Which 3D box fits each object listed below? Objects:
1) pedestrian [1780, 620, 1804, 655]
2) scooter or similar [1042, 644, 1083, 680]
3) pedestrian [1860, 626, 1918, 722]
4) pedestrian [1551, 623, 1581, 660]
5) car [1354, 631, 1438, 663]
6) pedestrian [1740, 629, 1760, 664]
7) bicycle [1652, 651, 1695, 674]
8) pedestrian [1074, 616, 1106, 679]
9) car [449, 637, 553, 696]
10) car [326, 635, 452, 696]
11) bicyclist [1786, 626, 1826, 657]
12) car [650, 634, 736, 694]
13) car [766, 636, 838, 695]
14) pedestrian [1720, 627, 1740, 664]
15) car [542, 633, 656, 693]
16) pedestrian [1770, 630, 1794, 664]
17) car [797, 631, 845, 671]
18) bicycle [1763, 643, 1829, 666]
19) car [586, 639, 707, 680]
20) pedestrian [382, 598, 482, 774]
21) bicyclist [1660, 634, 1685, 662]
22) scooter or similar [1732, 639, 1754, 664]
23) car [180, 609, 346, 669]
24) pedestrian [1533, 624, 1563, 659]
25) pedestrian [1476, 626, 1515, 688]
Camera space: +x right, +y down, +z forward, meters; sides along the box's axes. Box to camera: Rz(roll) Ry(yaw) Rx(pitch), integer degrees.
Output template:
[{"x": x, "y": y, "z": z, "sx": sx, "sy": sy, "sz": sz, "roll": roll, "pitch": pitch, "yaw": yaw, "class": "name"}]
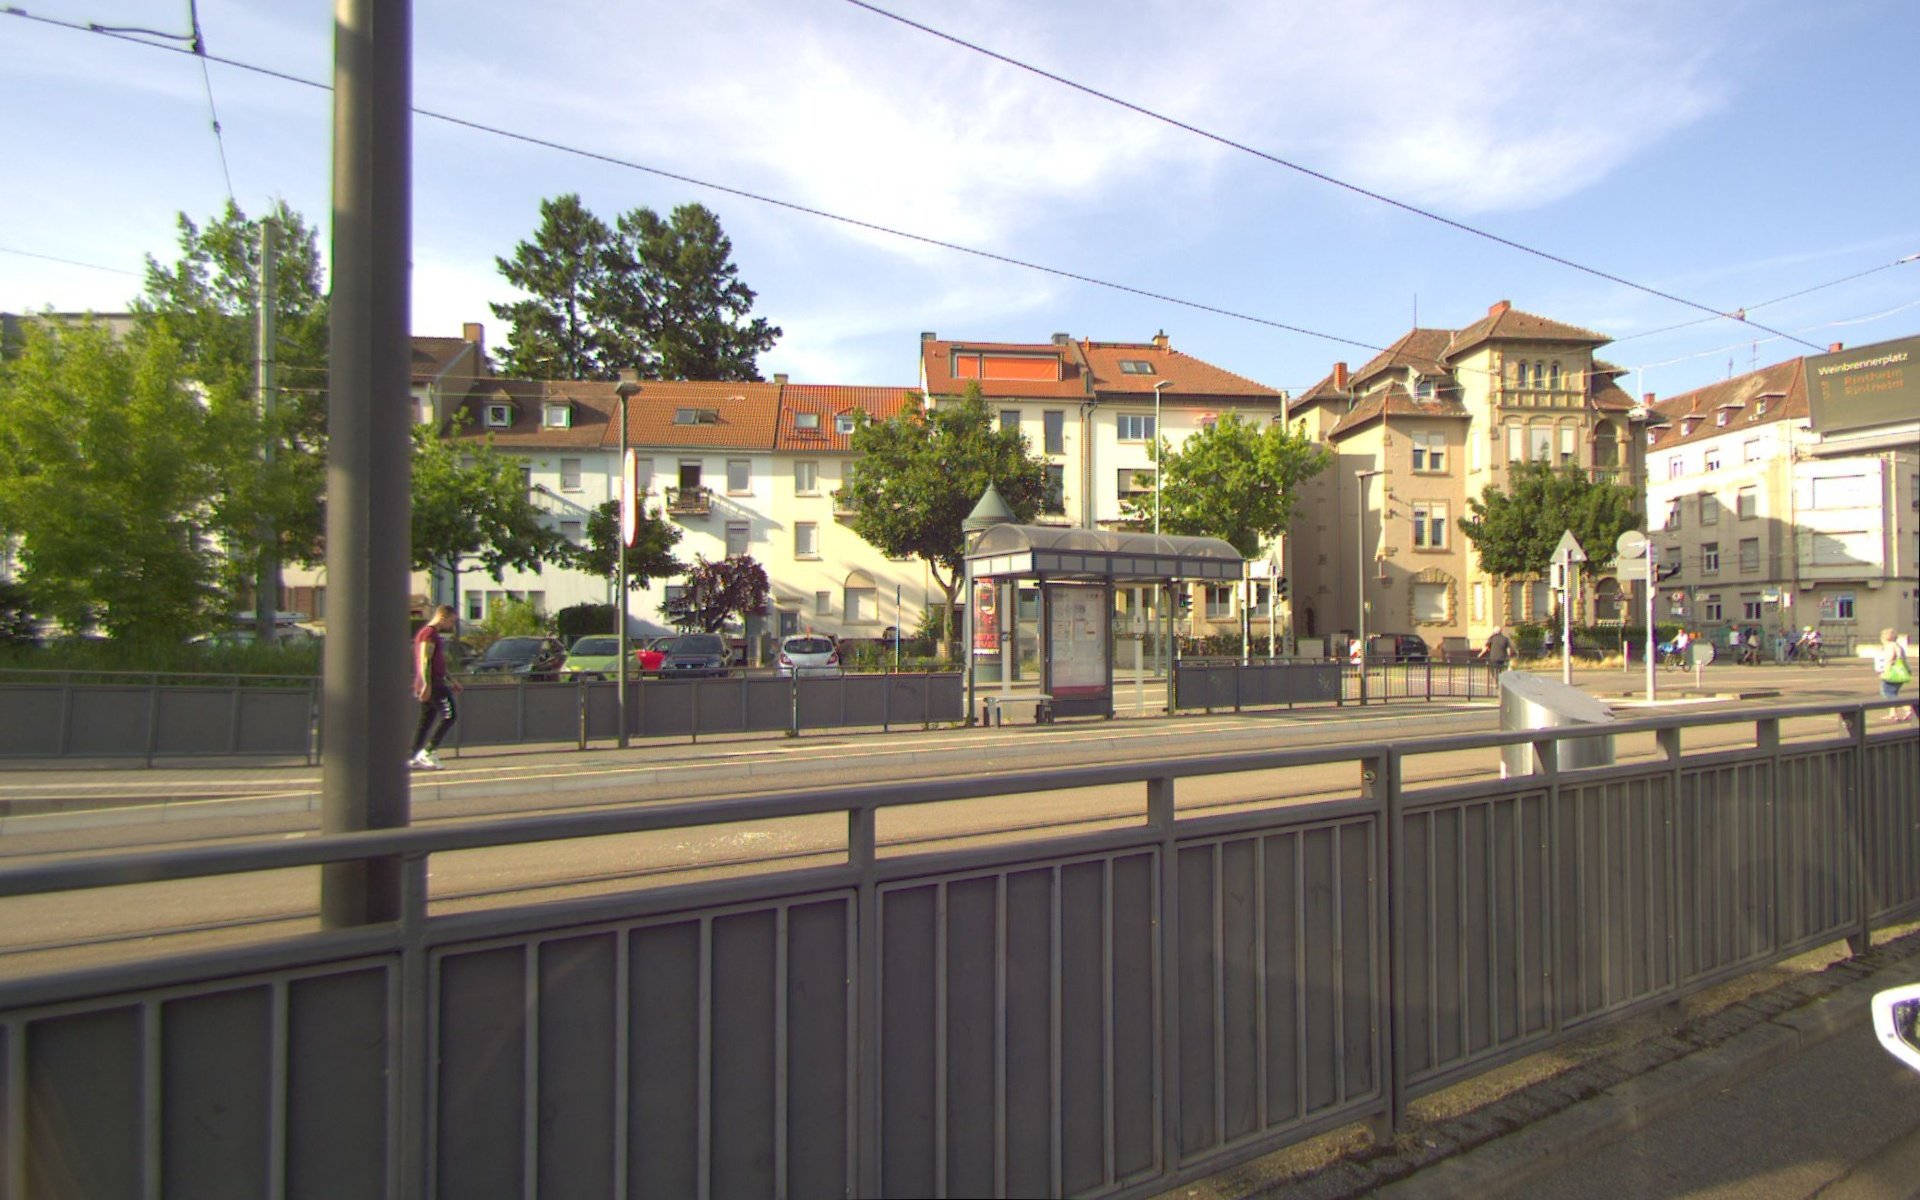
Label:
[{"x": 49.230, "y": 2.207, "z": 59.436, "sx": 0.773, "sy": 2.040, "sz": 0.775, "roll": 0, "pitch": -2, "yaw": -15, "class": "pedestrian"}, {"x": 2.876, "y": 1.736, "z": 28.216, "sx": 1.006, "sy": 1.001, "sz": 0.556, "roll": 0, "pitch": -2, "yaw": -15, "class": "scooter or similar"}, {"x": 16.089, "y": 1.261, "z": 17.404, "sx": 0.627, "sy": 1.620, "sz": 0.608, "roll": 1, "pitch": -2, "yaw": -36, "class": "pedestrian"}, {"x": 26.356, "y": 1.807, "z": 43.692, "sx": 0.768, "sy": 1.572, "sz": 0.831, "roll": 0, "pitch": -2, "yaw": -8, "class": "pedestrian"}, {"x": 20.369, "y": 2.174, "z": 47.121, "sx": 1.732, "sy": 1.327, "sz": 4.111, "roll": 2, "pitch": 0, "yaw": -7, "class": "car"}, {"x": 34.943, "y": 2.046, "z": 44.445, "sx": 0.540, "sy": 1.520, "sz": 0.437, "roll": 0, "pitch": -2, "yaw": -15, "class": "pedestrian"}, {"x": 27.295, "y": 2.372, "z": 38.448, "sx": 1.661, "sy": 0.845, "sz": 0.525, "roll": 1, "pitch": -2, "yaw": -22, "class": "bicycle"}, {"x": 3.704, "y": 1.338, "z": 28.610, "sx": 0.750, "sy": 1.769, "sz": 0.547, "roll": 0, "pitch": -2, "yaw": -15, "class": "pedestrian"}, {"x": -11.884, "y": 1.675, "z": 26.247, "sx": 1.968, "sy": 1.416, "sz": 3.985, "roll": 1, "pitch": -2, "yaw": -18, "class": "car"}, {"x": -14.405, "y": 1.600, "z": 25.587, "sx": 1.968, "sy": 1.416, "sz": 3.985, "roll": 1, "pitch": -2, "yaw": -18, "class": "car"}, {"x": 35.525, "y": 1.740, "z": 42.183, "sx": 1.156, "sy": 1.278, "sz": 0.762, "roll": 1, "pitch": -2, "yaw": -20, "class": "bicyclist"}, {"x": -7.167, "y": 1.682, "z": 27.280, "sx": 1.815, "sy": 1.505, "sz": 3.995, "roll": 0, "pitch": -2, "yaw": -9, "class": "car"}, {"x": -4.349, "y": 1.765, "z": 27.818, "sx": 1.815, "sy": 1.505, "sz": 3.995, "roll": 0, "pitch": -2, "yaw": -9, "class": "car"}, {"x": 34.654, "y": 2.034, "z": 45.224, "sx": 0.601, "sy": 1.647, "sz": 0.506, "roll": 1, "pitch": -2, "yaw": -29, "class": "pedestrian"}, {"x": -9.690, "y": 1.658, "z": 27.294, "sx": 1.813, "sy": 1.505, "sz": 3.999, "roll": 0, "pitch": -2, "yaw": -3, "class": "car"}, {"x": 38.597, "y": 2.192, "z": 47.174, "sx": 0.702, "sy": 1.561, "sz": 0.626, "roll": 1, "pitch": -2, "yaw": -30, "class": "pedestrian"}, {"x": -6.059, "y": 2.197, "z": 44.200, "sx": 1.962, "sy": 1.684, "sz": 3.997, "roll": 0, "pitch": -2, "yaw": -6, "class": "car"}, {"x": 34.926, "y": 2.262, "z": 41.956, "sx": 2.954, "sy": 0.926, "sz": 0.783, "roll": 1, "pitch": -2, "yaw": -22, "class": "bicycle"}, {"x": -11.227, "y": 2.122, "z": 36.240, "sx": 3.927, "sy": 1.416, "sz": 1.836, "roll": 0, "pitch": -2, "yaw": -9, "class": "car"}, {"x": -5.375, "y": 0.860, "z": 10.234, "sx": 0.867, "sy": 1.706, "sz": 0.551, "roll": 1, "pitch": -5, "yaw": -30, "class": "pedestrian"}, {"x": 27.274, "y": 1.824, "z": 38.454, "sx": 0.669, "sy": 1.058, "sz": 0.512, "roll": 1, "pitch": -2, "yaw": -22, "class": "bicyclist"}, {"x": 35.351, "y": 2.342, "z": 45.334, "sx": 0.675, "sy": 1.093, "sz": 0.541, "roll": 2, "pitch": 0, "yaw": -30, "class": "scooter or similar"}, {"x": -18.664, "y": 1.051, "z": 27.139, "sx": 1.813, "sy": 1.505, "sz": 3.999, "roll": 0, "pitch": -2, "yaw": -3, "class": "car"}, {"x": 26.217, "y": 1.842, "z": 44.794, "sx": 0.768, "sy": 1.572, "sz": 0.831, "roll": 0, "pitch": -2, "yaw": -8, "class": "pedestrian"}, {"x": 14.684, "y": 1.552, "z": 27.571, "sx": 0.778, "sy": 1.667, "sz": 0.757, "roll": -1, "pitch": -2, "yaw": 16, "class": "pedestrian"}]
